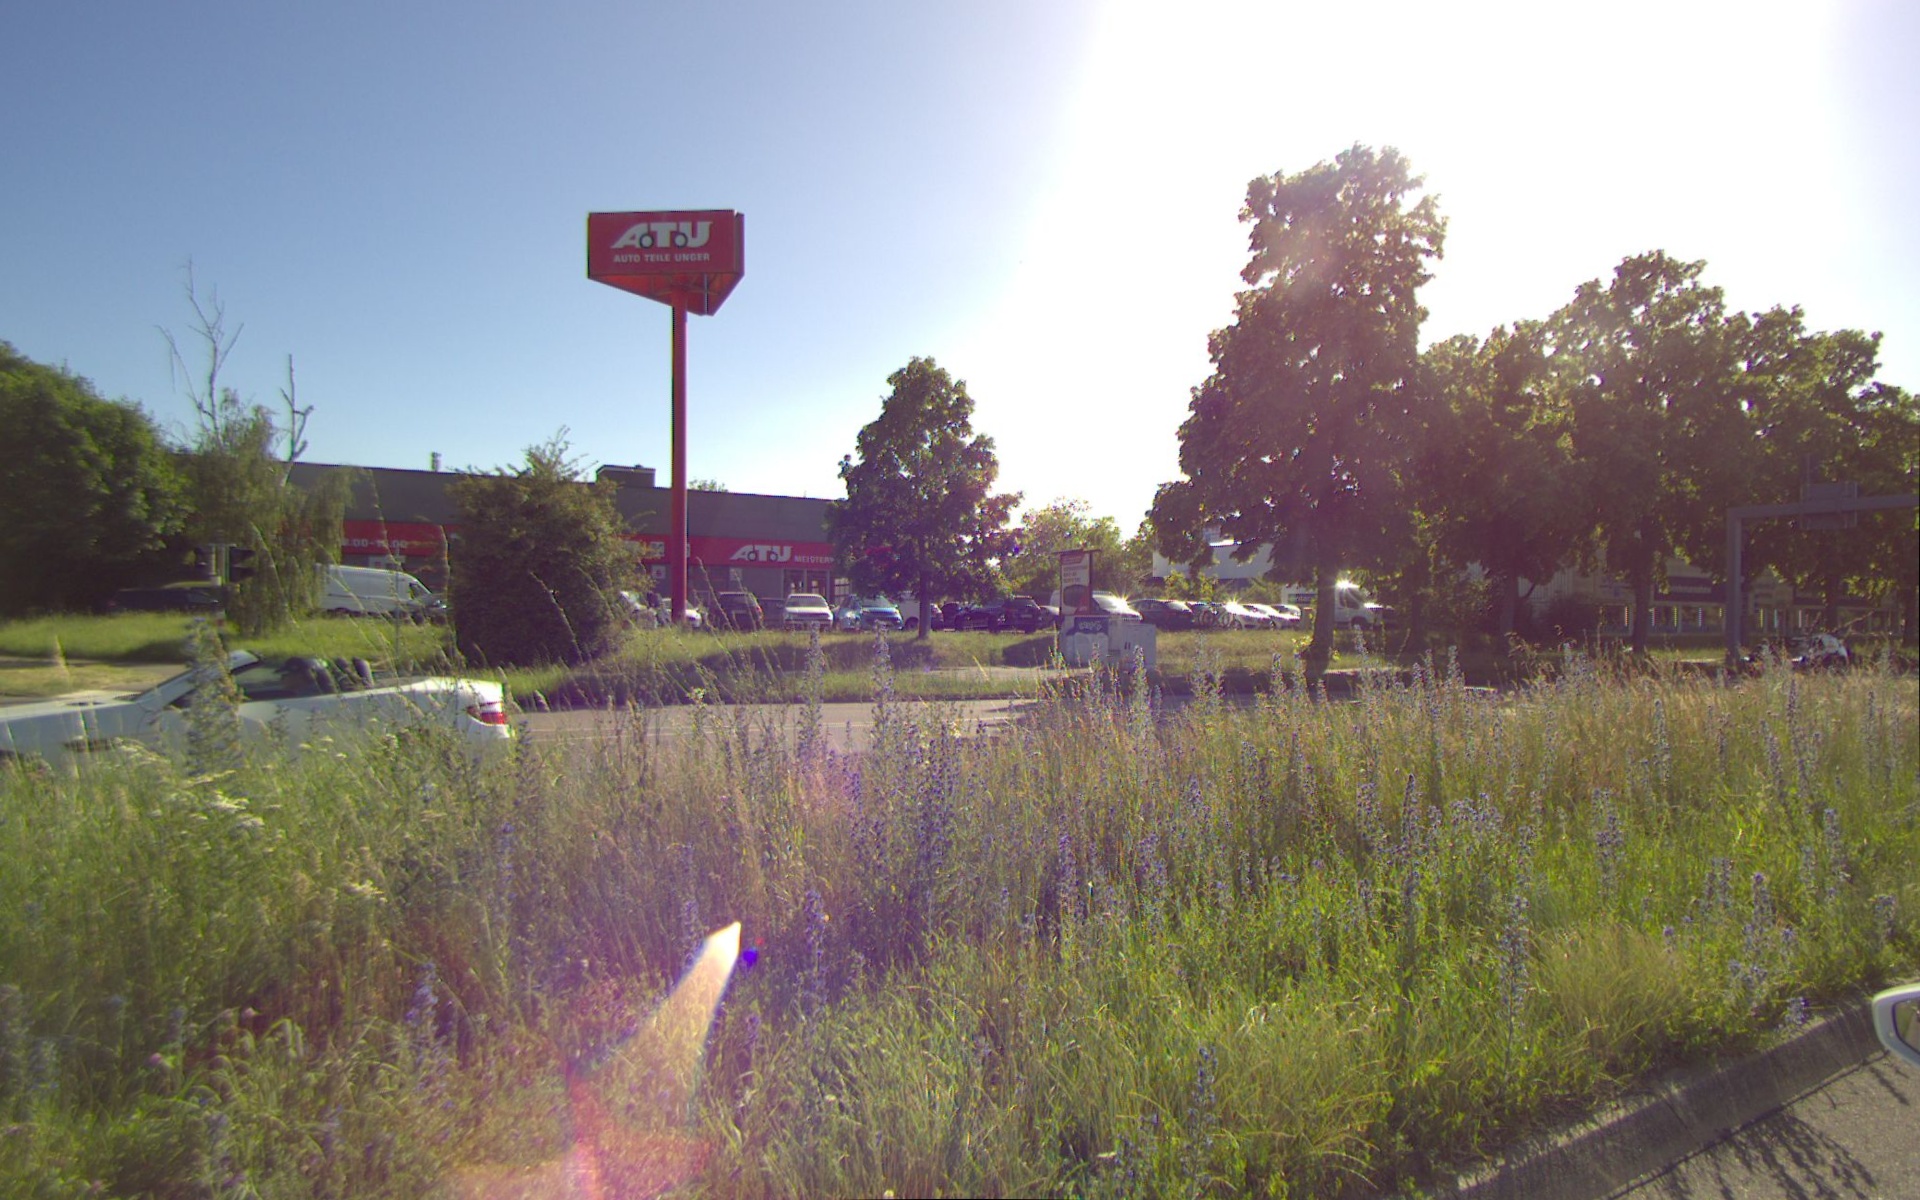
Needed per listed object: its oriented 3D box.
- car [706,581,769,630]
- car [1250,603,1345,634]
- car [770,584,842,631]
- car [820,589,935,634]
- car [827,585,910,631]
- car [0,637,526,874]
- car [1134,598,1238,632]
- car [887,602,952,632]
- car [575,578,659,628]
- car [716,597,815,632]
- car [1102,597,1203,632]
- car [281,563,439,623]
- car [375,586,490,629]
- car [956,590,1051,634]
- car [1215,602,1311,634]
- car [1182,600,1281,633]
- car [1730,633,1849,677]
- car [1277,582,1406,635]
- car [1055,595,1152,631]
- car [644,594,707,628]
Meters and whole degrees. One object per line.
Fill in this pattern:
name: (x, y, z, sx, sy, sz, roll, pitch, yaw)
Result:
car: (-7.795, 0.223, 34.916, 1.865, 1.572, 4.117, 1, -1, -17)
car: (16.267, 0.908, 48.581, 1.925, 1.407, 4.095, 1, -1, -32)
car: (-5.532, 0.295, 35.738, 1.866, 1.572, 4.115, 1, -1, -18)
car: (-3.813, 0.572, 46.756, 5.062, 1.982, 1.774, 1, -1, -26)
car: (-3.412, 0.330, 36.753, 1.793, 1.572, 4.107, 1, -1, -24)
car: (-5.652, 1.033, 7.672, 4.062, 1.463, 1.622, 1, -1, -35)
car: (9.828, 0.677, 43.998, 1.923, 1.407, 4.600, 1, -1, -29)
car: (-2.157, 0.891, 52.389, 1.871, 1.474, 4.103, 1, -1, -27)
car: (-11.514, 0.148, 34.000, 1.860, 1.572, 4.127, 0, -1, -7)
car: (-8.495, 0.658, 43.979, 3.935, 1.474, 1.772, 1, -1, -29)
car: (8.087, 0.623, 42.472, 1.925, 1.407, 4.095, 1, -1, -32)
car: (-23.313, -0.210, 39.262, 1.861, 2.180, 5.039, 0, -1, 28)
car: (-19.284, 0.297, 36.932, 1.857, 1.474, 4.133, 0, -1, 3)
car: (1.600, 0.490, 38.494, 1.921, 1.572, 4.104, 1, -1, -26)
car: (14.151, 0.836, 47.078, 1.925, 1.407, 4.095, 1, -1, -32)
car: (12.213, 0.769, 45.369, 1.925, 1.407, 4.095, 1, -1, -32)
car: (28.521, 1.863, 34.523, 4.330, 1.444, 1.772, 1, -3, -30)
car: (18.696, 0.437, 49.500, 2.183, 2.465, 5.844, 1, -1, -32)
car: (5.898, 0.553, 41.745, 1.924, 1.407, 4.098, 1, -1, -30)
car: (-12.971, 0.531, 45.664, 1.873, 1.474, 4.100, 1, -1, -29)
